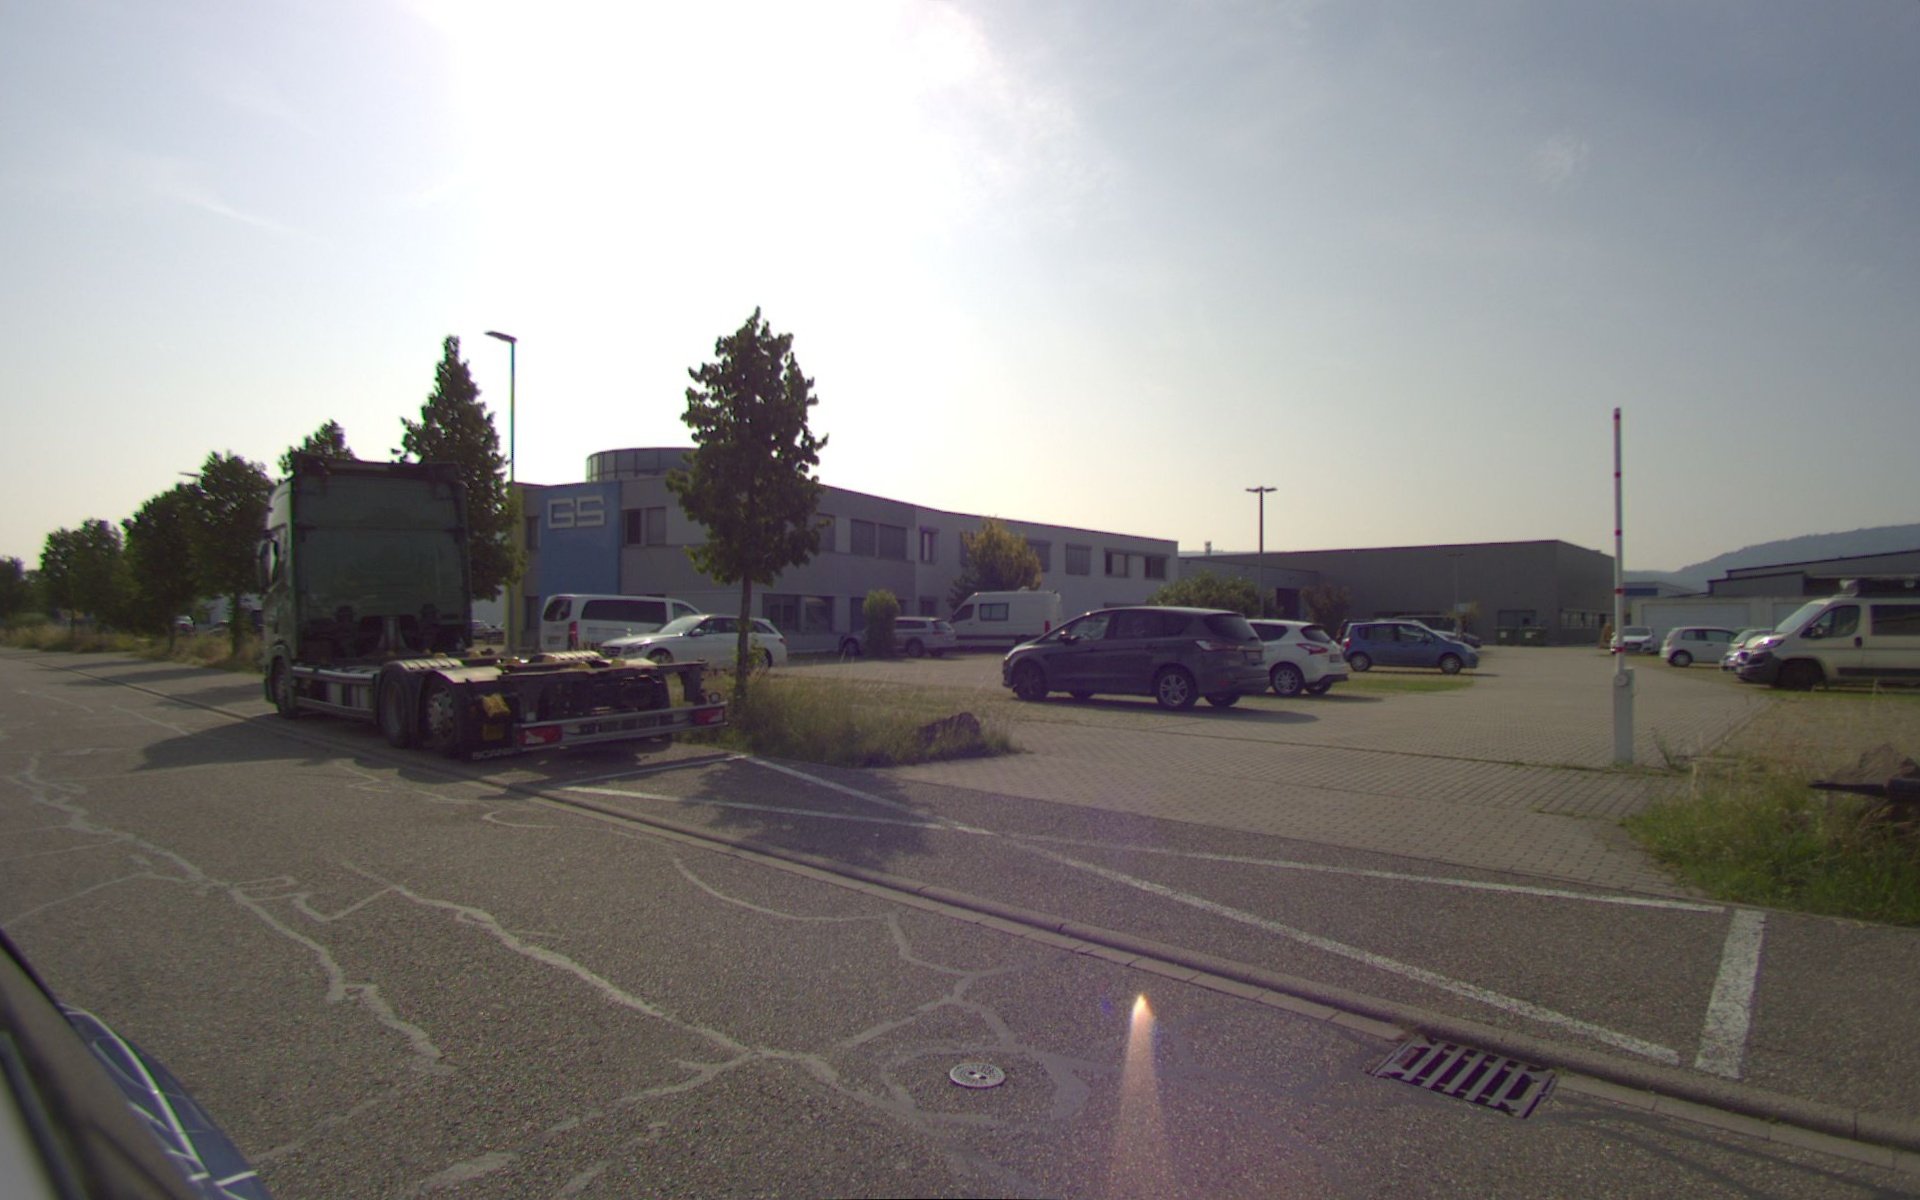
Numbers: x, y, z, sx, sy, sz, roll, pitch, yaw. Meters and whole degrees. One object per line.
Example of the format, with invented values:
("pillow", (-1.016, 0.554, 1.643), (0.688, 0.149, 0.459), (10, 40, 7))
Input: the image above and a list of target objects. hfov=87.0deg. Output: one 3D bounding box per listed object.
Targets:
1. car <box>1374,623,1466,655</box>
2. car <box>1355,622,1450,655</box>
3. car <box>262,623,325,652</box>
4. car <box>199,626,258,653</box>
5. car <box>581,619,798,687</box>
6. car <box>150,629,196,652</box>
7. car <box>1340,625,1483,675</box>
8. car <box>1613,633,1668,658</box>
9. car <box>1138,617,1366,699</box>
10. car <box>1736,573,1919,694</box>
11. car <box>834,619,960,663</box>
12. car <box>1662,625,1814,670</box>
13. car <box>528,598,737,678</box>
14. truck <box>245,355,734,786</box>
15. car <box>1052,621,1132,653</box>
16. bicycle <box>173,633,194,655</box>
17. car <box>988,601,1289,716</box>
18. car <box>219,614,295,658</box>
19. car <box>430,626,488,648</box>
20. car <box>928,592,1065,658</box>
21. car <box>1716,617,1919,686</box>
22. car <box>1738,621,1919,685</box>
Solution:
("car", (24.777, 2.062, 54.575), (1.820, 1.625, 4.155), (2, -2, -44))
("car", (23.026, 1.973, 52.745), (1.820, 1.625, 4.155), (2, -2, -44))
("car", (-38.406, 2.161, 58.308), (4.507, 1.619, 1.922), (-2, -2, 42))
("car", (-40.786, 2.192, 56.404), (3.915, 1.460, 1.767), (-2, -2, 40))
("car", (-6.272, 1.174, 23.921), (1.999, 1.442, 4.677), (-1, -2, 41))
("car", (-50.142, 2.581, 64.441), (3.918, 1.420, 1.735), (-2, -2, 43))
("car", (14.096, 1.508, 31.619), (3.982, 1.453, 1.883), (-1, -1, 28))
("car", (34.498, 2.276, 51.263), (3.628, 1.222, 1.620), (2, -2, -44))
("car", (5.939, 1.146, 20.886), (4.211, 1.527, 1.687), (-1, -3, 41))
("car", (20.809, 0.733, 22.465), (5.440, 2.566, 2.036), (0, -2, 31))
("car", (-2.346, 1.493, 37.442), (4.501, 1.492, 1.565), (0, -2, 27))
("car", (27.793, 1.672, 36.332), (4.137, 1.492, 1.563), (0, -2, 31))
("car", (-8.241, 0.953, 25.777), (2.102, 1.850, 4.654), (-2, -2, 42))
("truck", (-6.851, -0.240, 13.449), (9.804, 3.911, 2.428), (-1, 0, 43))
("car", (6.644, 1.859, 51.150), (3.726, 1.475, 1.558), (0, -1, 40))
("bicycle", (-36.084, 2.046, 47.012), (0.533, 0.986, 1.872), (1, -2, -44))
("car", (2.911, 0.937, 17.174), (4.696, 1.699, 1.973), (-2, -3, 41))
("car", (-33.718, 1.746, 48.485), (4.989, 2.029, 1.861), (-2, -3, 42))
("car", (-32.659, 2.388, 65.950), (4.377, 1.383, 1.715), (-2, -2, 39))
("car", (1.557, 1.061, 43.700), (5.719, 2.715, 1.696), (0, -1, 26))
("car", (21.889, 1.267, 25.683), (4.137, 1.625, 1.827), (0, -2, 31))
("car", (23.952, 1.402, 27.580), (4.137, 1.625, 1.827), (0, -2, 31))
